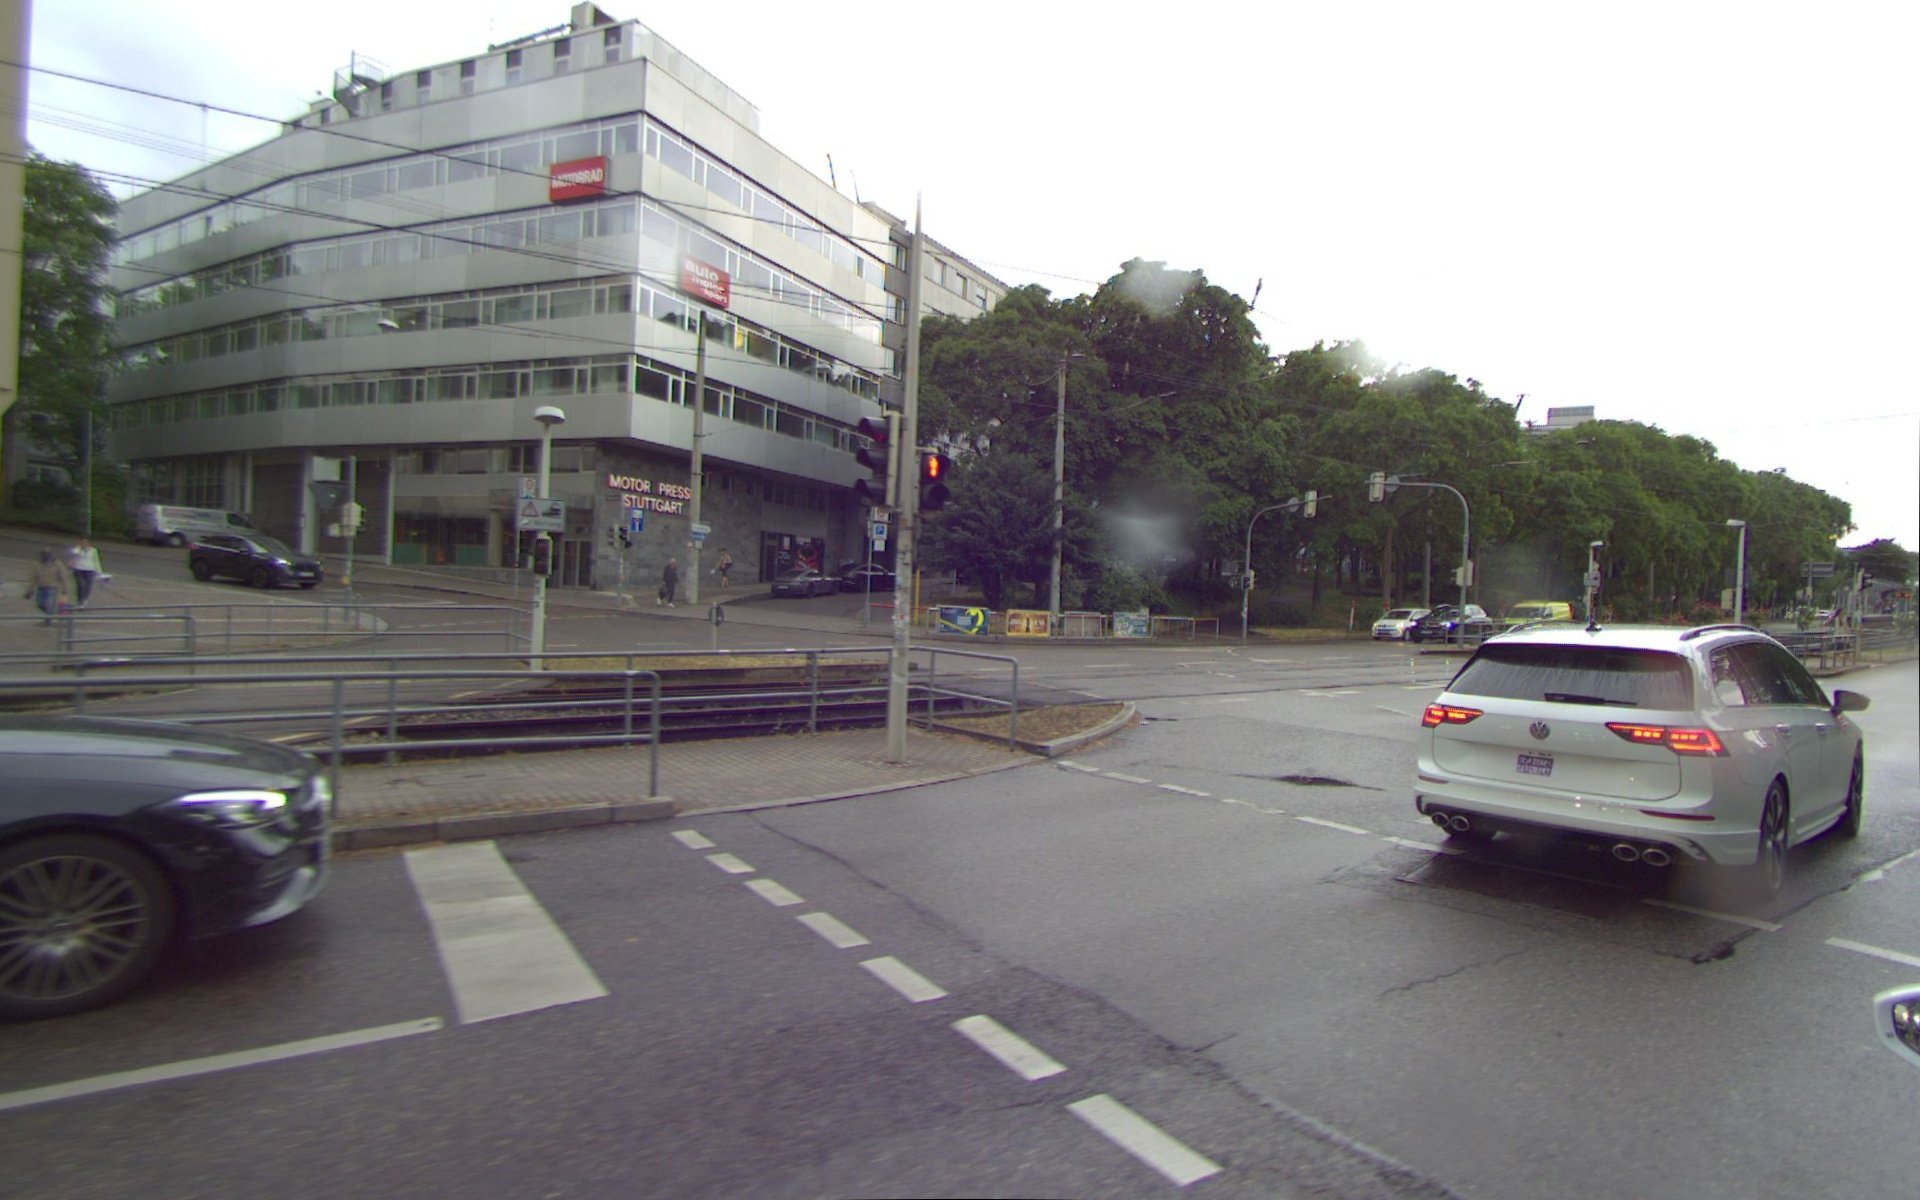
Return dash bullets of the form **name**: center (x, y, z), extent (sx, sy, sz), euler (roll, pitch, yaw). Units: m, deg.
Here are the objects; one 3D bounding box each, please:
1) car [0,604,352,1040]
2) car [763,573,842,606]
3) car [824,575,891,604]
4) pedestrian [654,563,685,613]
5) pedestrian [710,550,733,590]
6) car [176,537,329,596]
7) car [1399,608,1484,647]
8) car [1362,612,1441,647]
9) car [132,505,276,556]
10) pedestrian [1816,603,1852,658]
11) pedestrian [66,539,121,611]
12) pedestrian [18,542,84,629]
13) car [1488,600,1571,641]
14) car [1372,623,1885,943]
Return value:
- **car**: center (-4.746, 0.733, 3.501), extent (4.423, 1.461, 1.787), euler (1, -1, -31)
- **car**: center (-7.396, -0.503, 47.589), extent (1.842, 1.450, 4.091), euler (2, 1, 22)
- **car**: center (-5.323, -0.541, 52.571), extent (1.842, 1.450, 3.998), euler (2, 1, 22)
- **pedestrian**: center (-11.267, -0.478, 38.975), extent (0.833, 1.886, 0.719), euler (3, 1, 25)
- **pedestrian**: center (-11.259, -1.415, 47.461), extent (0.707, 1.886, 0.759), euler (3, 3, 28)
- **car**: center (-24.120, -1.134, 34.250), extent (4.793, 1.601, 1.999), euler (5, 2, 23)
- **car**: center (20.922, 1.195, 43.633), extent (3.648, 1.566, 1.905), euler (2, 0, -38)
- **car**: center (20.773, 1.375, 47.230), extent (3.648, 1.566, 1.905), euler (2, 0, -38)
- **car**: center (-37.433, -3.363, 49.914), extent (1.964, 2.040, 5.403), euler (0, -1, 30)
- **pedestrian**: center (30.015, 1.028, 34.490), extent (0.860, 1.826, 0.863), euler (3, 2, 43)
- **pedestrian**: center (-20.749, -0.595, 24.060), extent (0.746, 1.661, 0.719), euler (3, 1, 25)
- **pedestrian**: center (-19.617, -0.313, 21.702), extent (0.819, 1.811, 0.756), euler (2, 1, -23)
- **car**: center (27.633, 1.009, 48.694), extent (4.525, 1.875, 1.905), euler (2, 0, -38)
- **car**: center (4.716, 0.931, 6.788), extent (4.440, 1.461, 1.780), euler (2, -2, -41)
